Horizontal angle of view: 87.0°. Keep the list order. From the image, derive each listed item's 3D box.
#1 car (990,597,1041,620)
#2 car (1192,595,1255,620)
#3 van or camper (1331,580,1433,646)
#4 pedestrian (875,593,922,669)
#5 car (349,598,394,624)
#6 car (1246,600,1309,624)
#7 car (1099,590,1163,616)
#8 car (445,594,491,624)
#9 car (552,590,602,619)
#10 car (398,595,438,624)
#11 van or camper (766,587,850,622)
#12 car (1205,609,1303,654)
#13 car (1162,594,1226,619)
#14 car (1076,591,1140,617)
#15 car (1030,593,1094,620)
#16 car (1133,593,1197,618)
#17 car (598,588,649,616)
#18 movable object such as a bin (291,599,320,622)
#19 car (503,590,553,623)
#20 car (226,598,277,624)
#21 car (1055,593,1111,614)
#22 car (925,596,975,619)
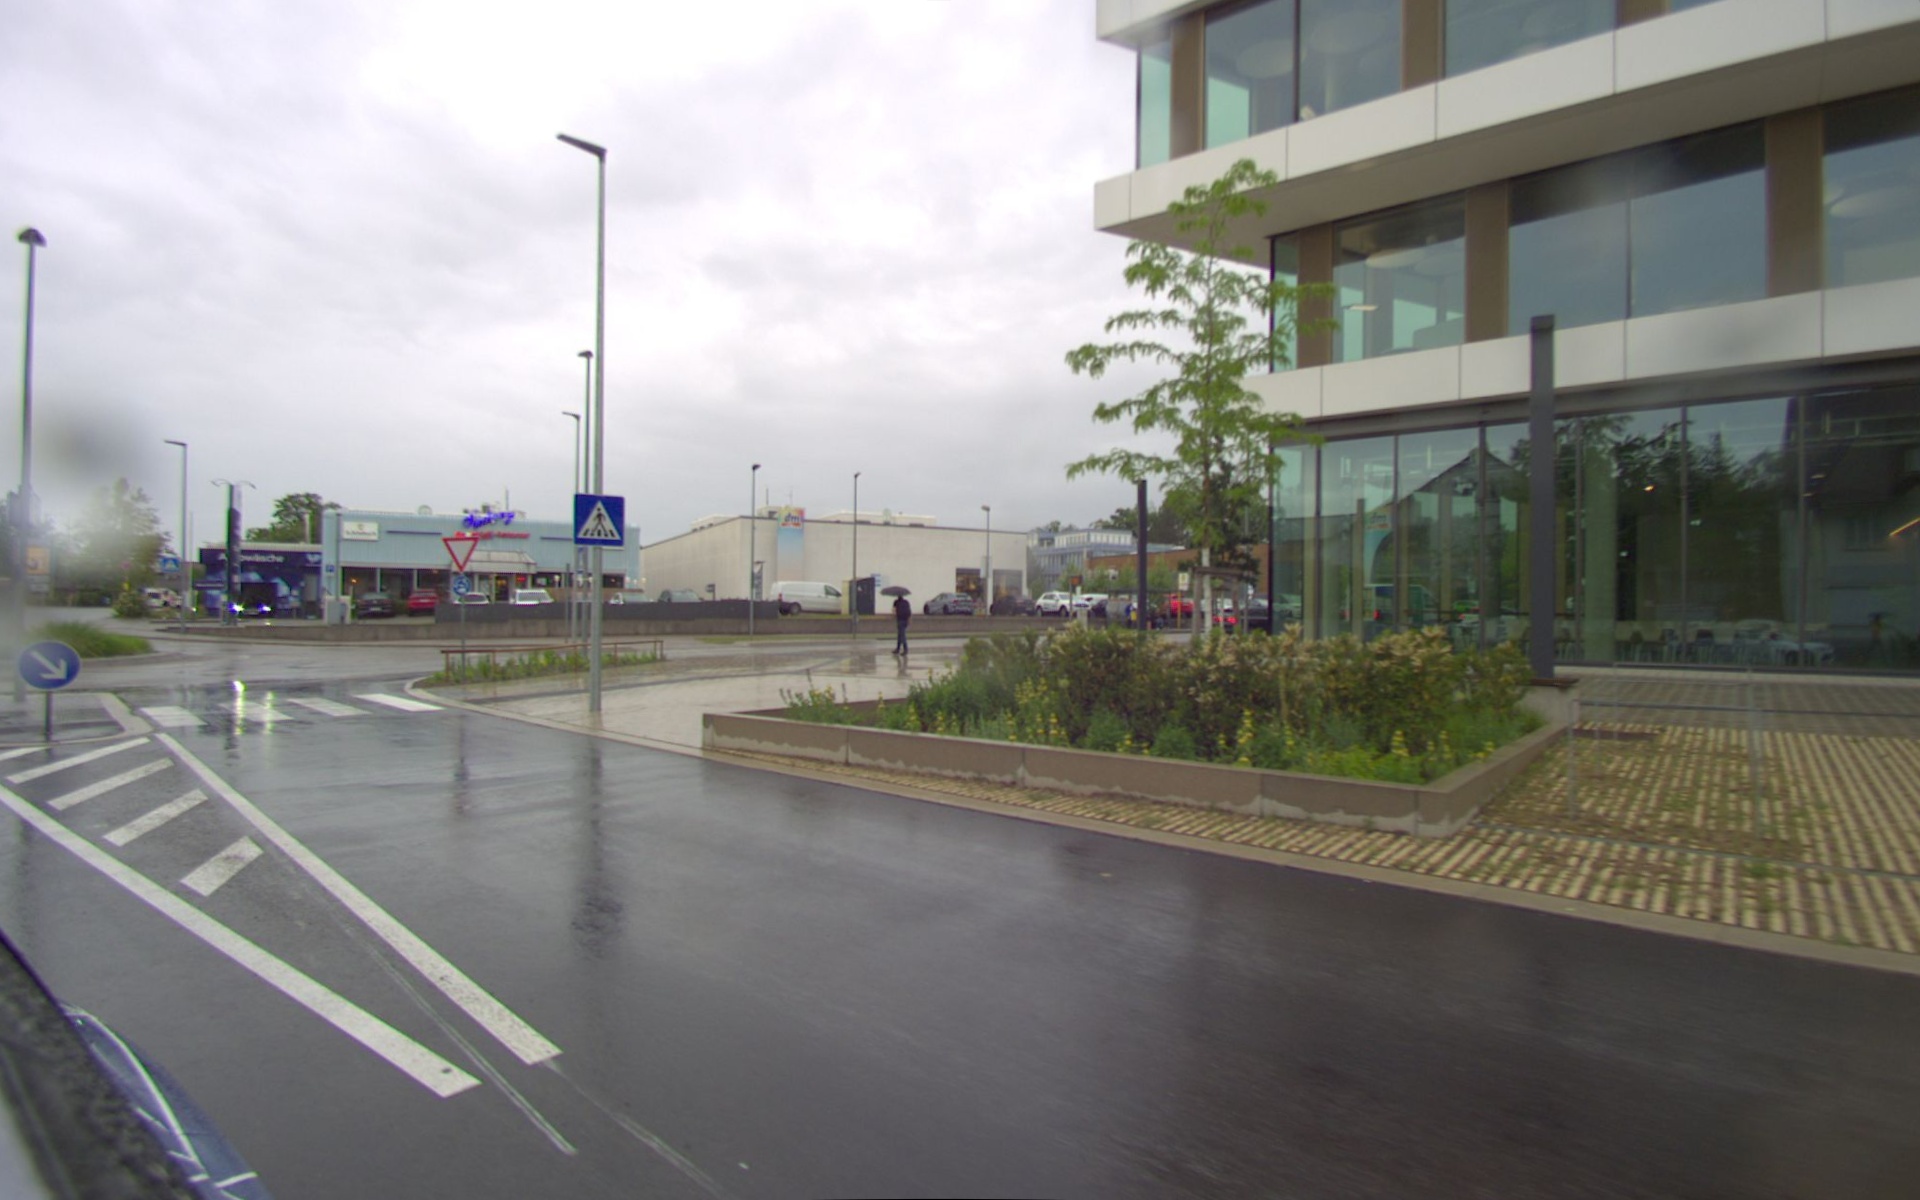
[{"bbox_3d":[3.936,0.614,72.342,1.763,1.564,4.013,0,-1,-28],"label":"car"},{"bbox_3d":[17.450,0.514,67.200,1.764,1.564,4.012,0,-1,-30],"label":"car"},{"bbox_3d":[21.259,0.627,50.982,5.014,3.111,2.006,-2,0,-30],"label":"van or camper"},{"bbox_3d":[-1.673,0.830,27.592,0.929,2.029,0.883,-1,-1,35],"label":"pedestrian"},{"bbox_3d":[-33.140,0.610,57.065,1.855,1.305,4.013,-3,1,-27],"label":"car"},{"bbox_3d":[21.811,0.827,69.644,1.764,1.564,4.012,0,-1,-30],"label":"car"},{"bbox_3d":[10.638,0.233,63.203,1.764,1.564,4.012,0,-1,-30],"label":"car"},{"bbox_3d":[-23.298,0.420,47.869,1.855,1.305,4.013,-3,1,-27],"label":"car"},{"bbox_3d":[-19.137,0.200,50.456,1.855,1.305,4.013,-3,1,-27],"label":"car"},{"bbox_3d":[-31.322,0.533,58.557,1.855,1.497,4.013,-3,1,-27],"label":"car"},{"bbox_3d":[-8.674,0.252,57.731,4.306,1.774,1.894,-3,1,-26],"label":"van or camper"},{"bbox_3d":[13.252,1.364,45.635,3.932,1.741,2.006,-3,1,-30],"label":"car"},{"bbox_3d":[15.178,0.443,65.745,1.764,1.564,4.012,0,-1,-30],"label":"car"},{"bbox_3d":[9.016,0.257,62.091,1.764,1.564,4.012,0,-1,-30],"label":"car"},{"bbox_3d":[6.100,0.395,60.811,1.820,1.564,4.012,0,-1,-30],"label":"car"},{"bbox_3d":[13.046,0.346,64.668,1.764,1.564,4.012,0,-1,-30],"label":"car"},{"bbox_3d":[-17.119,0.112,51.445,1.855,1.305,4.013,-3,1,-27],"label":"car"},{"bbox_3d":[-38.749,0.625,59.928,1.194,1.305,1.483,-3,1,-27],"label":"movable object such as a bin"},{"bbox_3d":[-21.210,0.326,49.639,1.764,1.564,4.012,0,-1,-30],"label":"car"},{"bbox_3d":[-44.385,0.688,63.498,1.888,1.541,4.013,-2,0,-24],"label":"car"},{"bbox_3d":[9.332,0.267,76.772,3.932,1.564,1.800,0,-1,-31],"label":"car"},{"bbox_3d":[-0.750,0.509,69.790,1.763,1.564,4.013,0,-1,-28],"label":"car"}]
